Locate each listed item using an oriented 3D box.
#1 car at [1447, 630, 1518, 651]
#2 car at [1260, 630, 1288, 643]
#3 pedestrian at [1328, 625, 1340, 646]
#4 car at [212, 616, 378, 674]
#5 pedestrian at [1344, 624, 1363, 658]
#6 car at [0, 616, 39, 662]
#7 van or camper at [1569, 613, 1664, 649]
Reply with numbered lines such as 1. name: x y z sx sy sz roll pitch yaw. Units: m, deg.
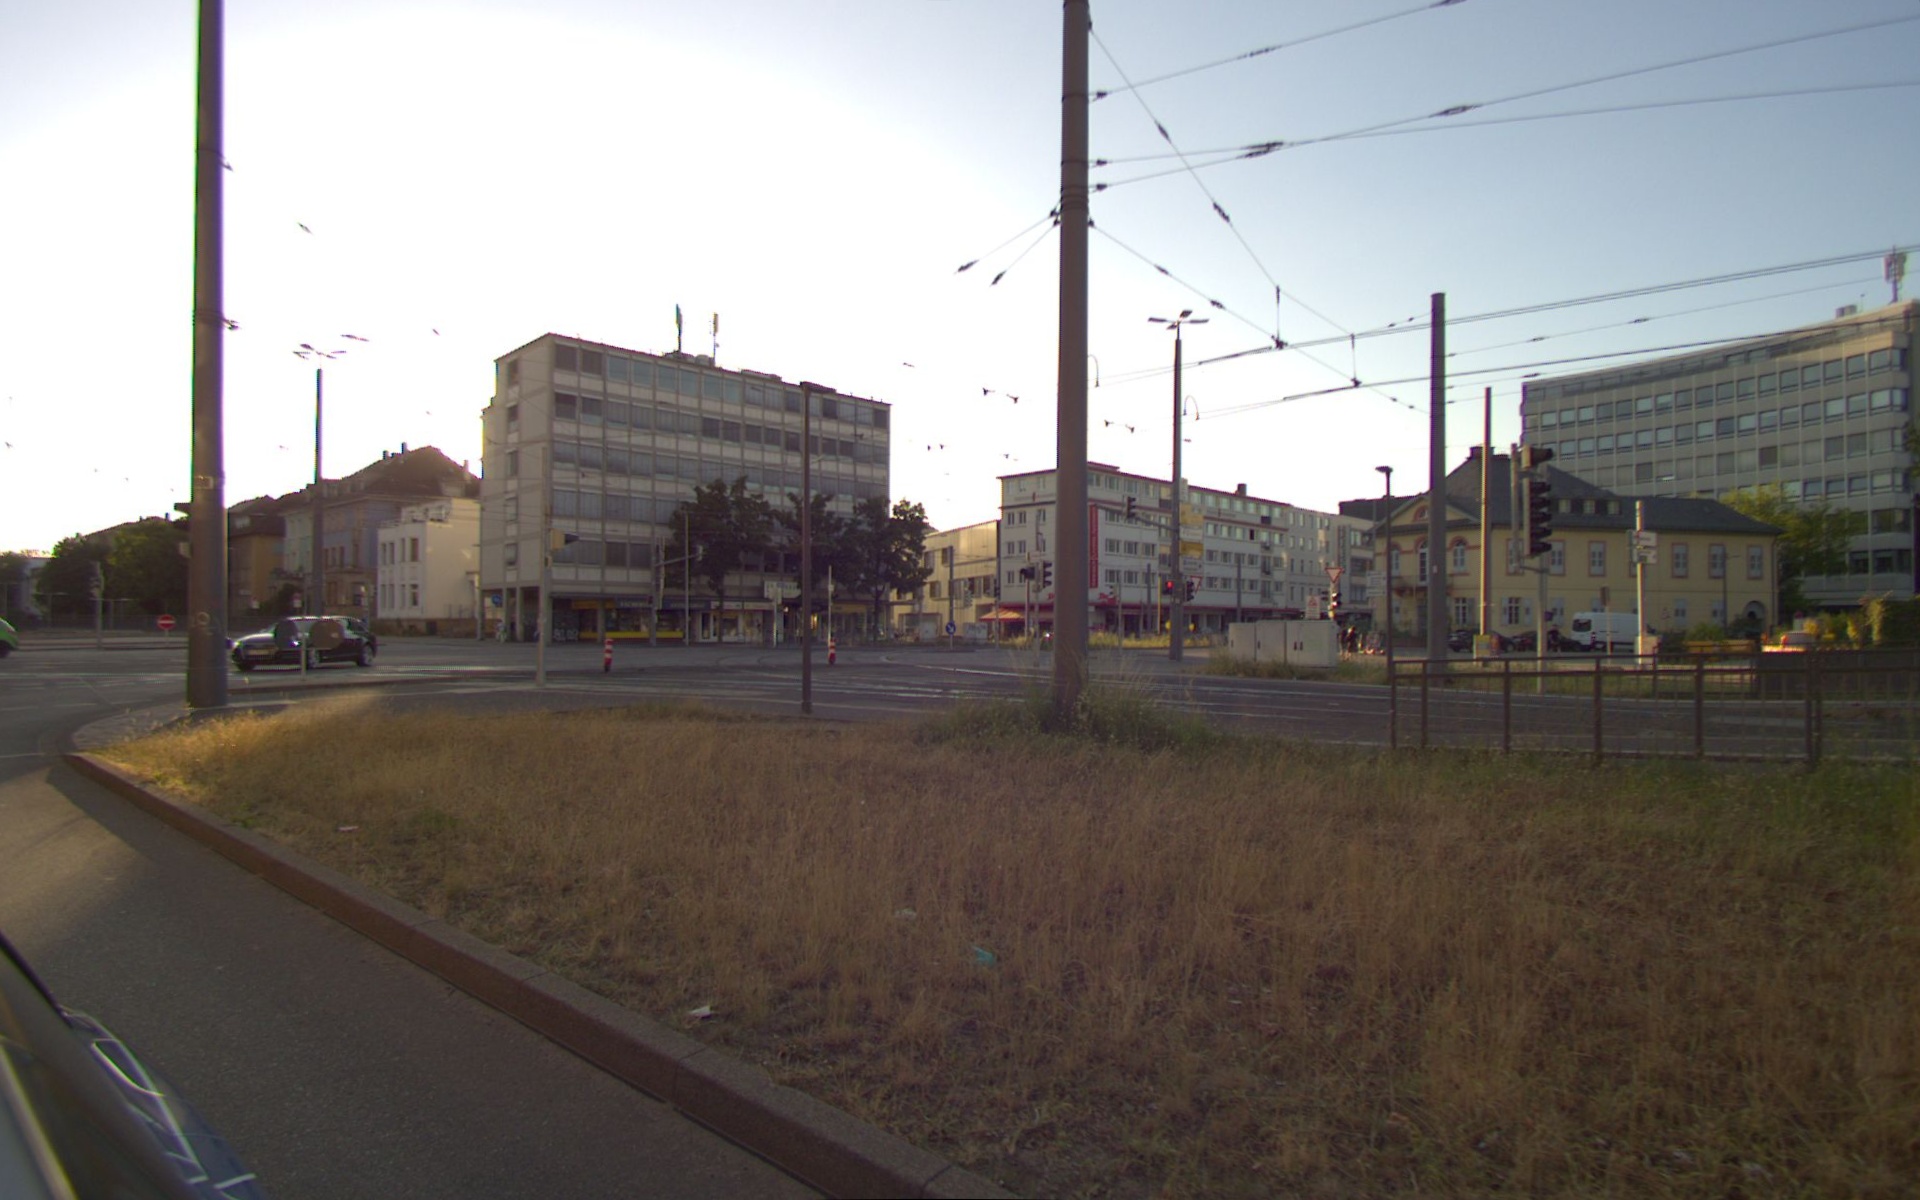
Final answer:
1. car: 32.494 2.527 62.976 3.529 1.286 1.856 1 -2 -11
2. car: 32.557 3.751 104.871 1.566 1.286 3.376 -1 -2 41
3. pedestrian: 27.683 2.614 74.891 0.645 1.521 0.591 3 -4 -43
4. car: -17.733 1.185 27.261 1.825 1.418 4.227 0 -2 -3
5. pedestrian: 17.707 1.843 45.494 0.590 1.521 0.645 -2 -4 45
6. car: -34.190 1.313 34.428 1.746 1.578 3.973 -1 -2 37
7. van or camper: 42.360 2.013 65.342 5.035 2.319 2.003 0 -2 -8
